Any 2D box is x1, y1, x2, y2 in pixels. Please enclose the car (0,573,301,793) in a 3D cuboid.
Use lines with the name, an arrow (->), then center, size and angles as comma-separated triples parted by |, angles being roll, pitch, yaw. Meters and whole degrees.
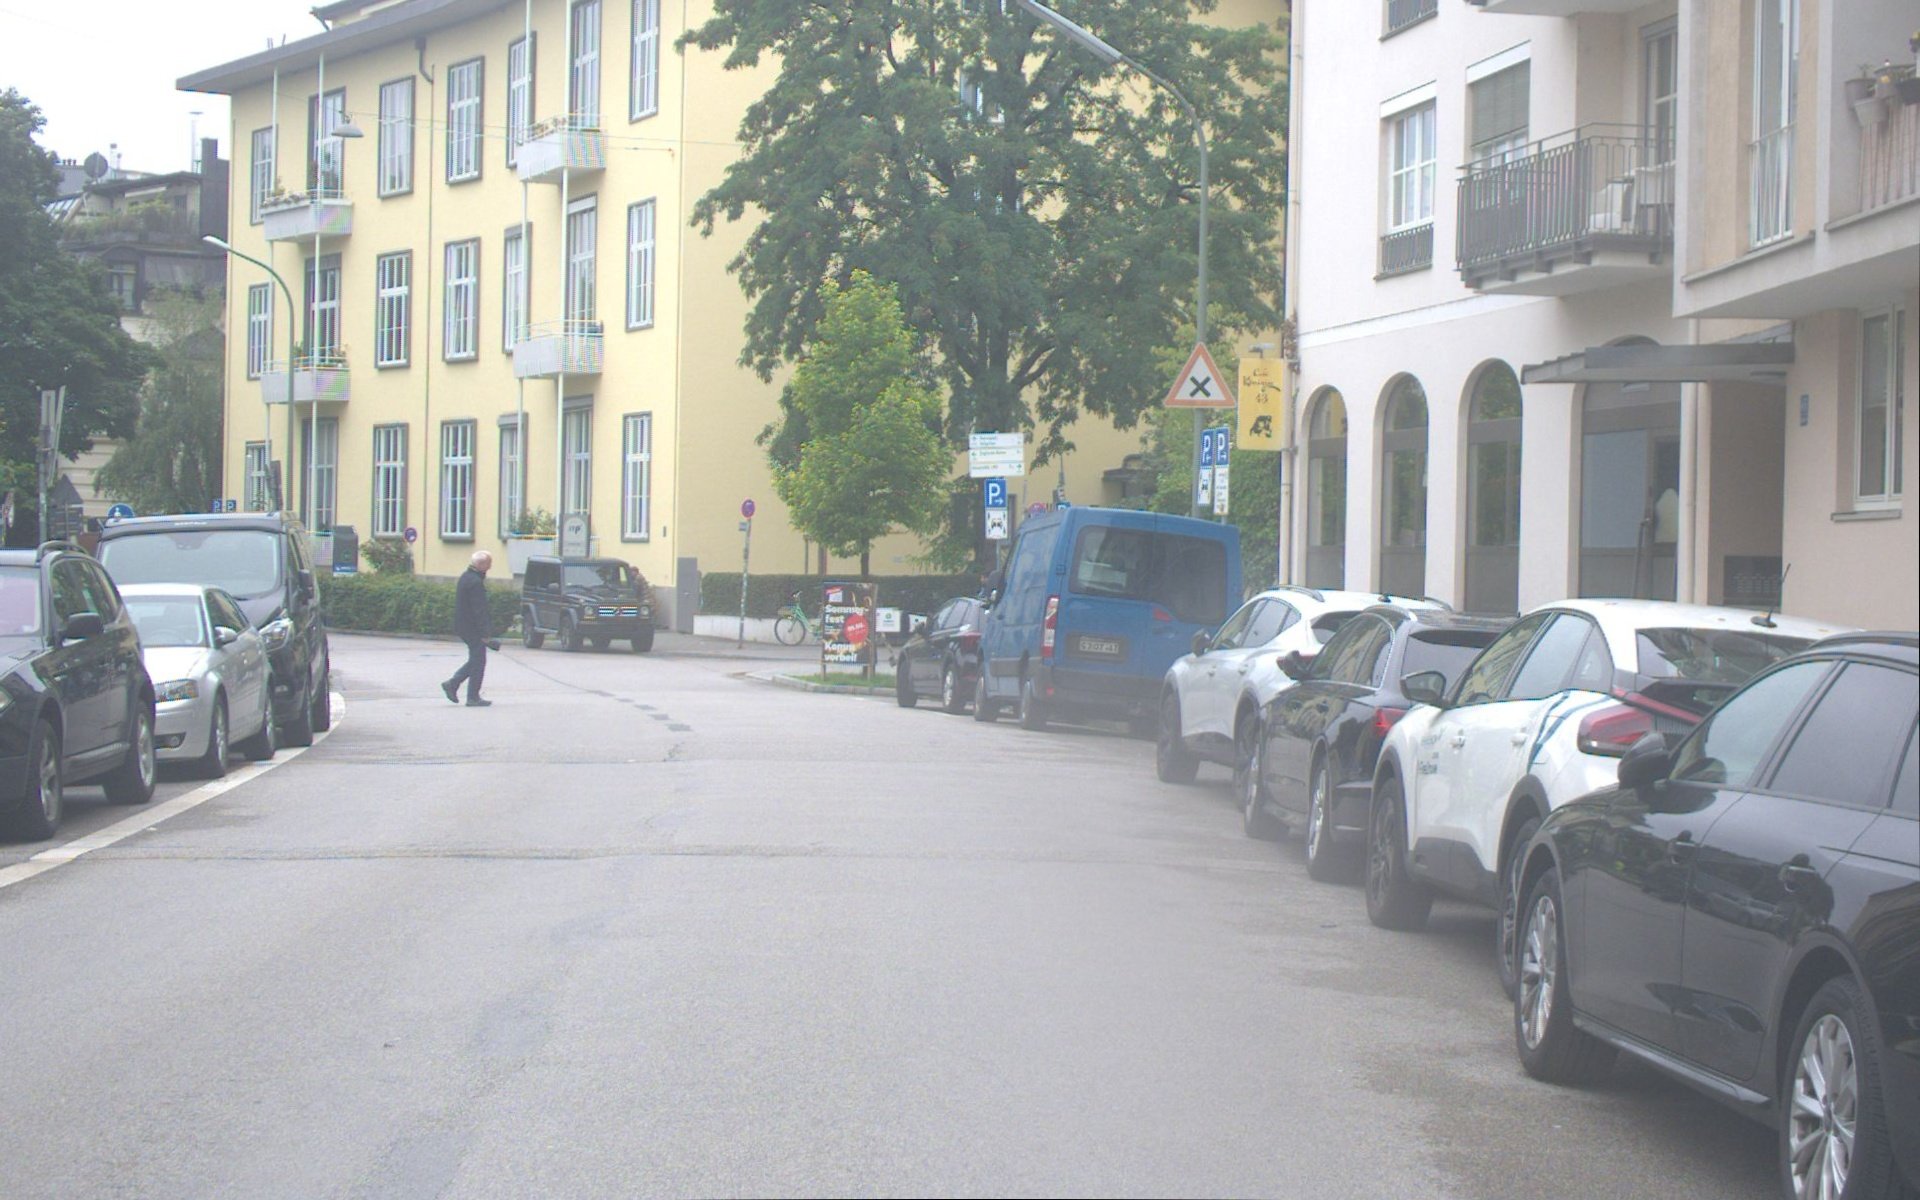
car -> -6.134, 0.555, 25.654 | 1.694, 1.388, 4.501 | -3, 1, -3

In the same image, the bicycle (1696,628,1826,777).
bicycle -> 6.473, 0.810, 27.856 | 0.455, 1.107, 1.854 | 1, 1, -4

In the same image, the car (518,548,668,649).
car -> -7.777, -0.056, 72.532 | 1.762, 1.868, 4.380 | 5, 0, -23

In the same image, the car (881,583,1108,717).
car -> 0.357, 0.581, 42.298 | 1.676, 1.384, 4.307 | 5, 0, -14

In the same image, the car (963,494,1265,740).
car -> 1.511, 0.210, 36.164 | 2.078, 2.226, 5.245 | 5, -2, -8

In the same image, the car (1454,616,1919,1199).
car -> 2.730, 0.831, 9.200 | 1.745, 1.383, 4.954 | 3, 1, -4

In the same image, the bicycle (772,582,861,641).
bicycle -> -3.073, 0.246, 73.591 | 1.926, 1.197, 0.594 | 2, 1, 35

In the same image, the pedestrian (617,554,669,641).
pedestrian -> -6.712, -0.060, 72.764 | 0.874, 1.817, 0.798 | 1, 1, -22

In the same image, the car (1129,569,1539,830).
car -> 2.535, 0.623, 24.500 | 1.785, 1.528, 4.649 | 4, 0, -7

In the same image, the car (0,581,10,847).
car -> -5.777, 0.633, 15.592 | 1.653, 1.409, 4.771 | -2, 1, -1

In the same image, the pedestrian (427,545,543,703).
pedestrian -> -5.492, 0.279, 39.761 | 0.934, 1.794, 0.954 | 0, -1, 42

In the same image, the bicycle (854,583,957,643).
bicycle -> -1.145, 0.263, 72.446 | 2.068, 1.197, 0.595 | 2, 1, 12

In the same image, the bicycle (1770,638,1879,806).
bicycle -> 6.142, 0.853, 24.470 | 0.378, 1.115, 1.392 | 1, 1, -1

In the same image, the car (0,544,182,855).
car -> -5.890, 0.517, 20.350 | 1.697, 1.637, 4.491 | -2, 1, -3

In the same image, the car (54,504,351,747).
car -> -6.685, 0.185, 30.888 | 2.072, 1.957, 5.351 | -1, 1, -7

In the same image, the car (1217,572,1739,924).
car -> 2.696, 0.694, 19.177 | 1.879, 1.517, 5.164 | 5, 1, -2

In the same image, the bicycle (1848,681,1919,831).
bicycle -> 6.235, 1.014, 22.622 | 0.378, 0.902, 1.392 | 1, 1, -1

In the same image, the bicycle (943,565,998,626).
bicycle -> 0.198, -0.100, 67.036 | 0.670, 1.155, 2.004 | 1, 0, -11

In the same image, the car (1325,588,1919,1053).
car -> 2.771, 0.766, 14.144 | 1.694, 1.484, 4.581 | 3, 1, -4
